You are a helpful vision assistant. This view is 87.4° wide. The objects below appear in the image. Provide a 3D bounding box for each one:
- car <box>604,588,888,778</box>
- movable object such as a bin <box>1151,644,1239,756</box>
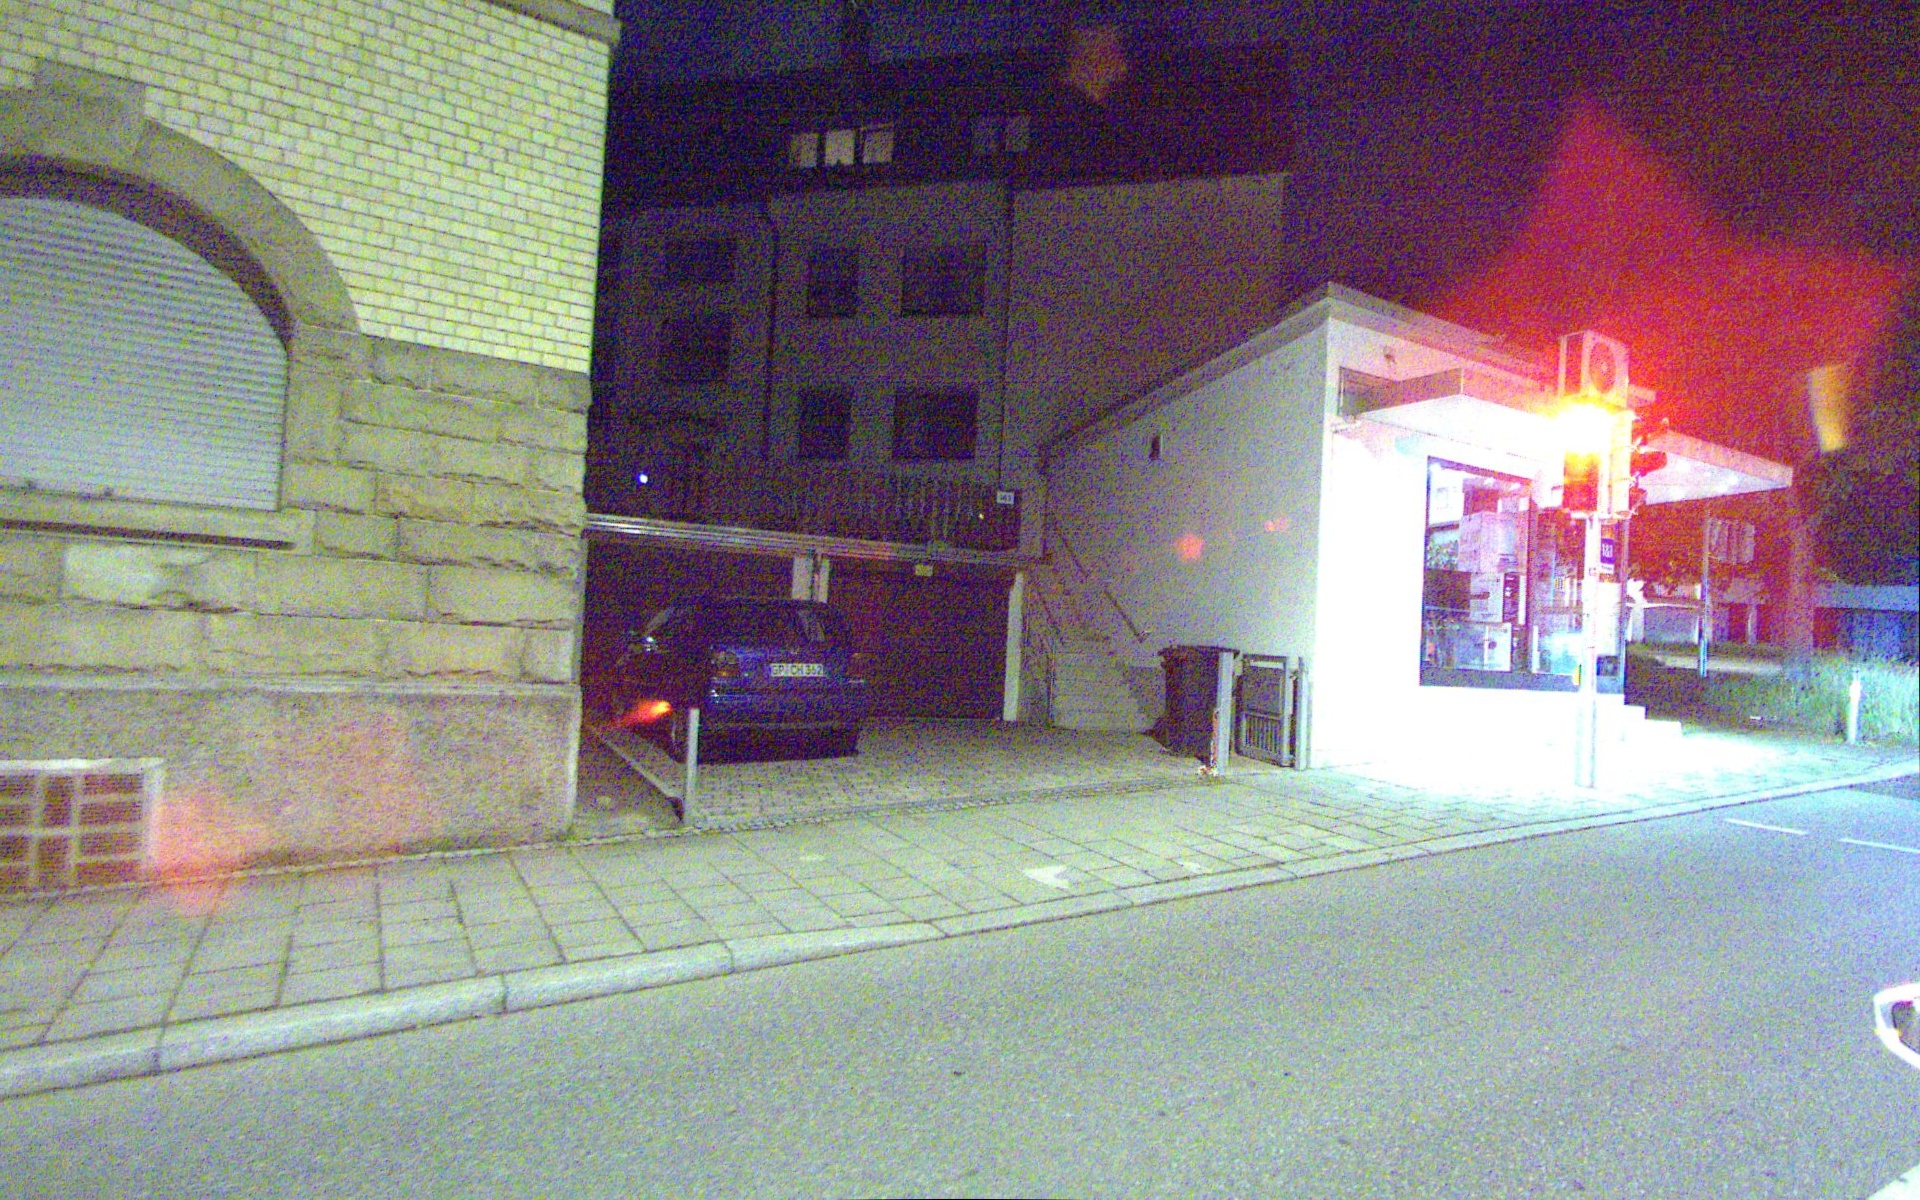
[{"bbox_3d":[-2.198,0.658,9.652,1.655,1.470,3.341,2,0,-31],"label":"car"},{"bbox_3d":[2.371,1.001,10.183,0.643,1.063,0.639,2,0,-12],"label":"movable object such as a bin"}]
